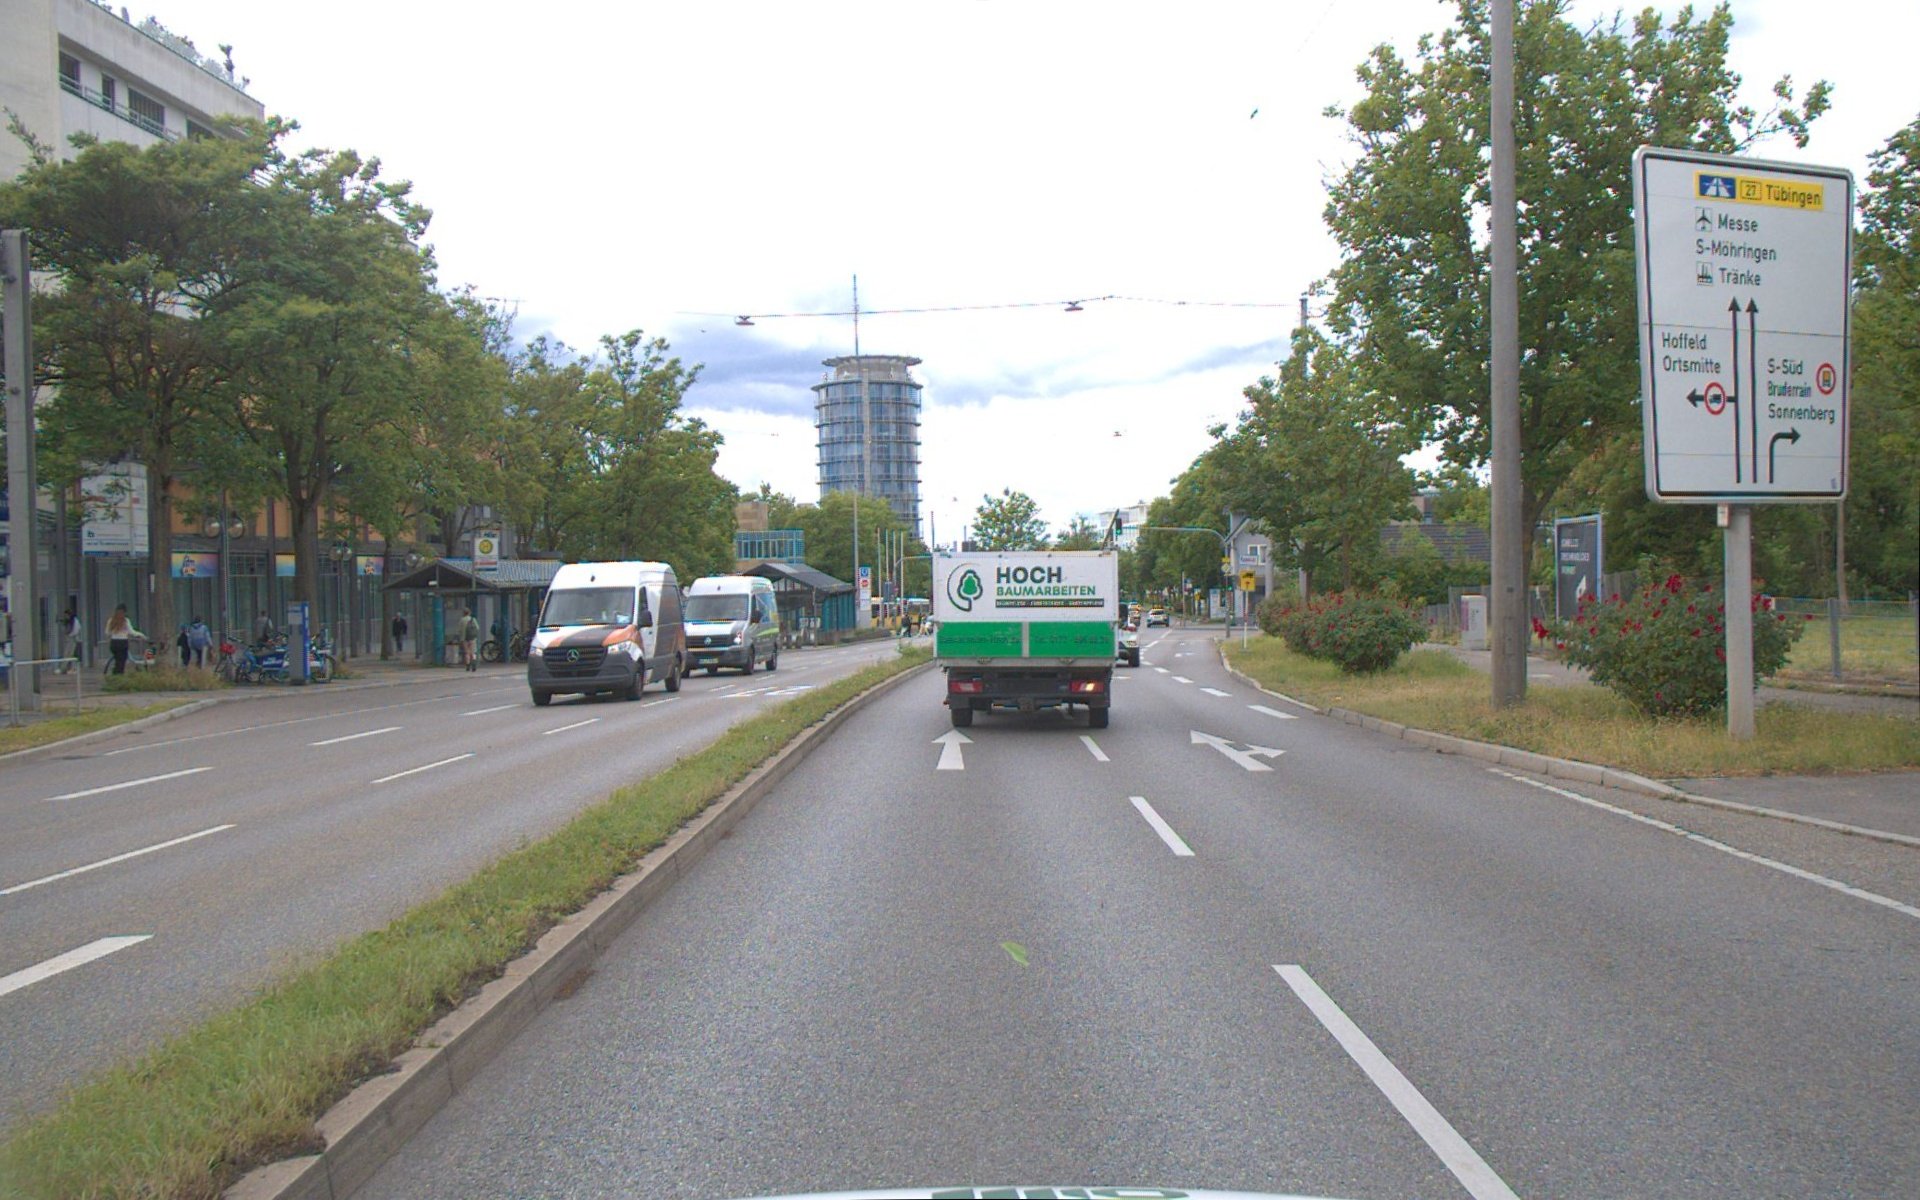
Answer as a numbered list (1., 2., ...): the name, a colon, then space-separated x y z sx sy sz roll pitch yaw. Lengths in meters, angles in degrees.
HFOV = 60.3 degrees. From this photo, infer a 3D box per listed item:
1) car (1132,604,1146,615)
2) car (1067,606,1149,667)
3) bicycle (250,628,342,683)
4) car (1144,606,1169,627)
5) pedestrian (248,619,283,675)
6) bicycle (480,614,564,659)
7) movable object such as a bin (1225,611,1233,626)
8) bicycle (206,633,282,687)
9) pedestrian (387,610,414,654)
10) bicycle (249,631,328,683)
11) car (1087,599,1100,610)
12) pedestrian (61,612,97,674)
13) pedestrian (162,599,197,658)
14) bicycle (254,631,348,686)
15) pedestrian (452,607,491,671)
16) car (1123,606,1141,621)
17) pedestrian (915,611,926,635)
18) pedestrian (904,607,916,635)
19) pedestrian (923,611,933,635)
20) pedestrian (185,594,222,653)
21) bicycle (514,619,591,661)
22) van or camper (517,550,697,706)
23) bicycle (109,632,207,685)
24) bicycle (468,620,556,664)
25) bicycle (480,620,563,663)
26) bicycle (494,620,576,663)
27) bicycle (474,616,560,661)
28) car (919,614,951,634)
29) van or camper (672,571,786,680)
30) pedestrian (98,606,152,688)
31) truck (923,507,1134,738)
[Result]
1. car: 27.068 1.427 250.269 1.951 1.579 4.002 -2 -1 5
2. car: 4.090 0.977 46.349 1.829 1.531 4.773 -1 1 0
3. bicycle: -15.620 1.294 38.935 0.593 1.181 1.955 -2 0 39
4. car: 15.916 1.352 133.987 1.951 1.579 4.003 -2 -1 6
5. pedestrian: -22.268 1.505 53.012 0.754 1.746 0.789 1 -1 -1
6. bicycle: -16.064 1.336 60.687 2.839 1.533 0.812 -2 -1 1
7. movable object such as a bin: 19.973 1.365 122.833 0.591 1.078 0.590 0 -1 10
8. bicycle: -16.738 1.393 38.735 0.590 1.181 1.967 -2 0 11
9. pedestrian: -22.875 1.305 67.622 0.754 1.746 0.822 1 -1 3
10. bicycle: -16.273 1.370 40.126 0.593 1.181 1.681 -2 0 38
11. car: 20.715 0.731 256.248 1.951 1.545 4.002 -2 -1 5
12. pedestrian: -23.336 1.135 43.810 0.622 1.628 0.620 0 -1 39
13. pedestrian: -21.628 0.791 45.823 0.619 1.628 0.623 0 -1 5
14. bicycle: -15.191 1.337 38.172 0.594 1.181 1.954 1 0 40
15. pedestrian: -14.390 1.158 48.734 0.689 1.854 1.214 0 -1 5
16. car: 19.922 1.560 192.036 1.951 1.579 4.002 -2 -1 5
17. pedestrian: -2.937 1.735 122.534 0.730 1.746 0.583 -2 -1 2
18. pedestrian: -3.708 1.568 123.090 0.812 2.049 0.546 -2 -1 2
19. pedestrian: -2.344 1.696 121.926 0.639 1.746 0.452 -2 -1 2
20. pedestrian: -20.902 0.643 45.708 0.652 1.611 0.707 1 -1 2
21. bicycle: -15.931 1.550 64.677 2.839 1.533 0.598 -2 -1 0
22. van or camper: -6.707 0.493 32.211 1.952 2.643 6.117 -3 0 1
23. bicycle: -19.269 1.386 39.774 2.003 1.181 0.663 -2 0 -43
24. bicycle: -15.855 1.473 58.646 2.839 1.533 0.972 0 -1 0
25. bicycle: -16.325 1.545 61.608 2.839 1.533 0.806 -2 -1 0
26. bicycle: -15.957 1.547 62.200 2.839 1.533 0.806 -2 -1 0
27. bicycle: -15.976 1.377 59.676 2.839 1.533 0.891 -2 -1 0
28. car: -1.999 1.930 133.795 1.951 1.512 4.003 -2 -1 7
29. van or camper: -6.166 0.648 44.973 1.990 2.643 6.117 -3 0 1
30. pedestrian: -18.091 1.016 35.840 0.759 1.743 0.707 1 -1 2
31. truck: 1.073 0.230 22.387 2.418 2.657 6.552 0 1 5
